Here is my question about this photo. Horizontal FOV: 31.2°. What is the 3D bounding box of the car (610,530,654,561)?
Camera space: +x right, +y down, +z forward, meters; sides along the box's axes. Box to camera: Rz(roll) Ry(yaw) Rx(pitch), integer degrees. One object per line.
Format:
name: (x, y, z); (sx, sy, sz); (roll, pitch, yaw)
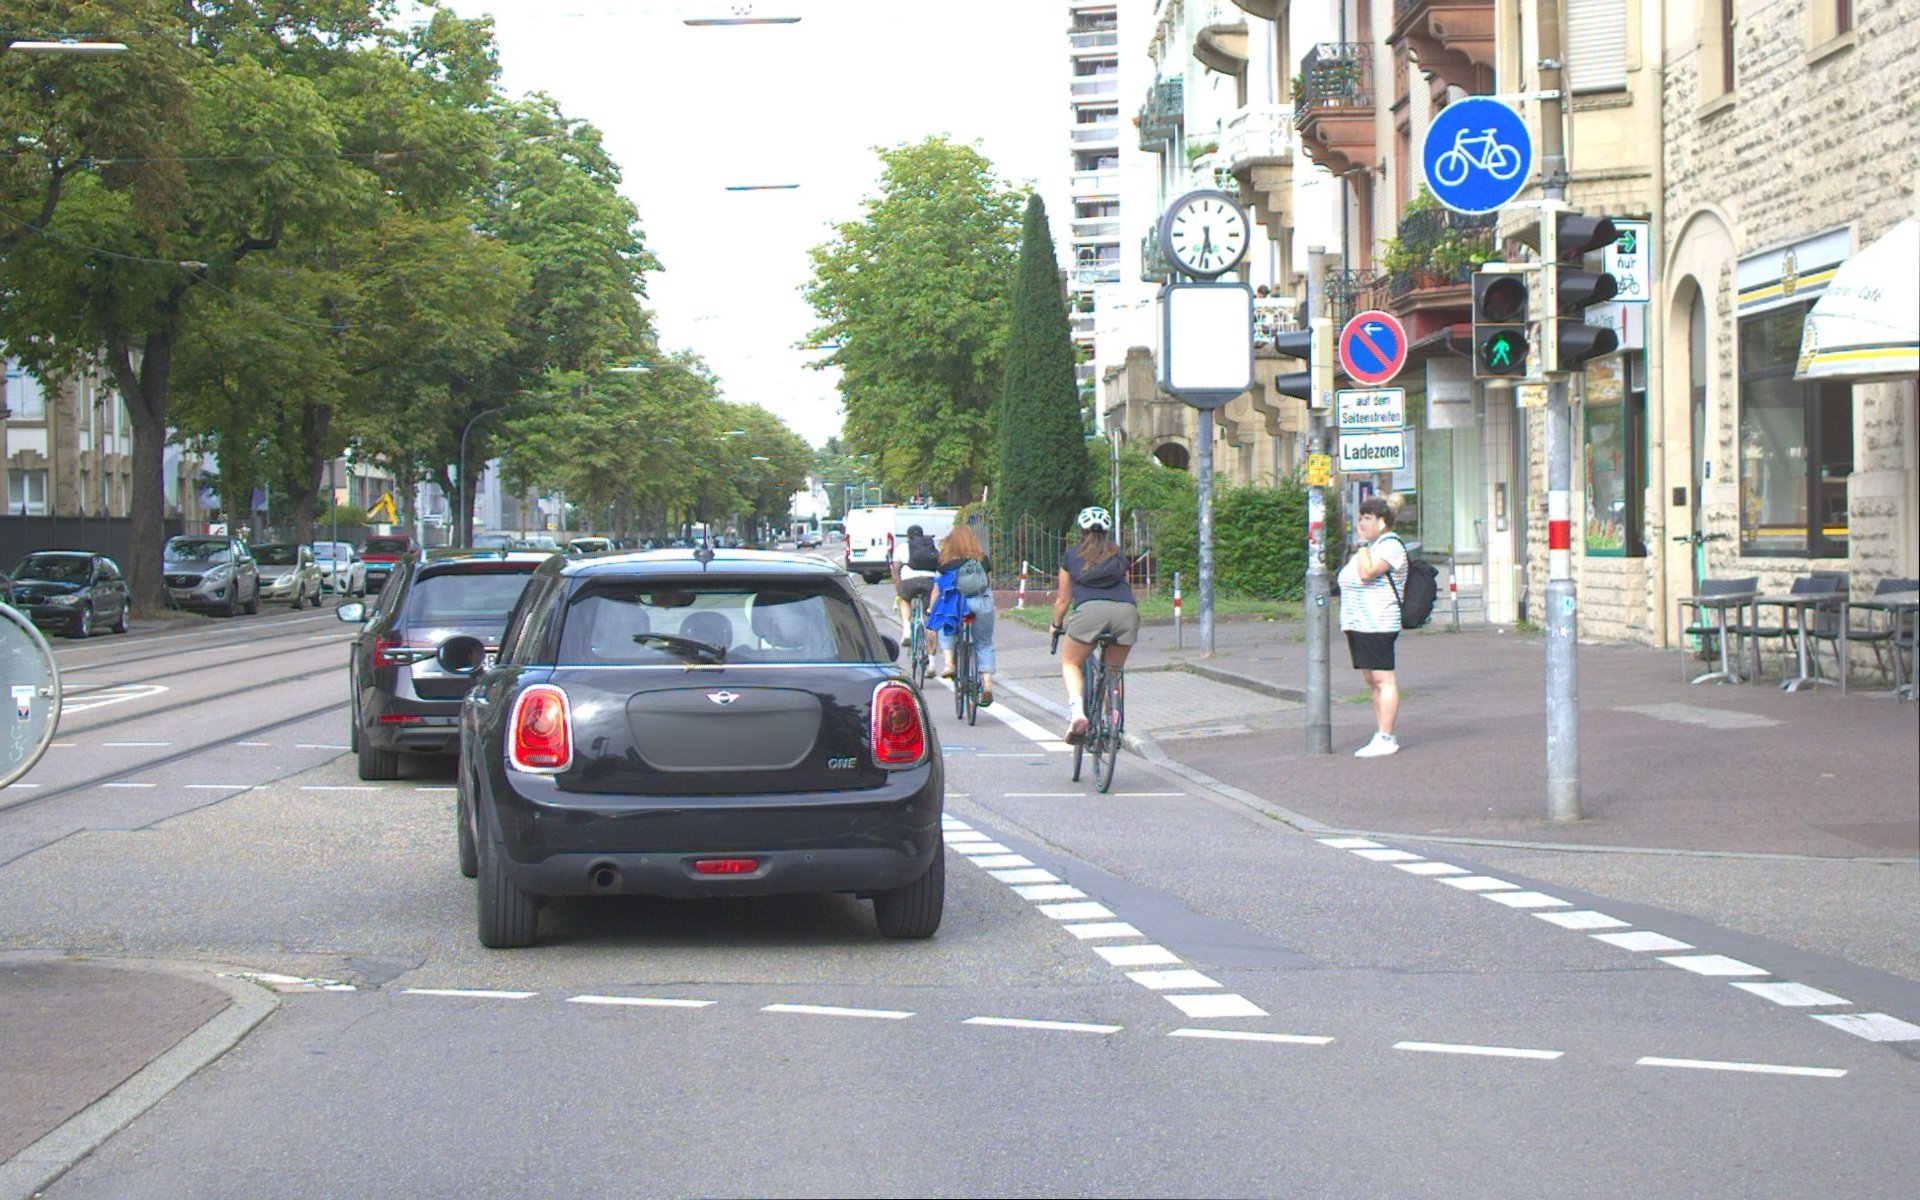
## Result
car: (-17.433, -2.911, 182.866); (1.993, 1.546, 4.000); (-1, 1, 0)

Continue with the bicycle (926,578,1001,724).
bicycle: (0.024, 0.415, 29.238); (0.598, 1.166, 1.697); (-1, 1, -1)

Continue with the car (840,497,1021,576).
car: (-0.853, -1.895, 102.454); (5.025, 2.265, 2.396); (-2, 2, -41)

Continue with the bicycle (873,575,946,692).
bicycle: (-0.522, 0.338, 36.315); (0.684, 1.166, 1.697); (-1, 1, 1)

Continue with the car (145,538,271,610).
car: (-15.334, -0.551, 70.269); (1.767, 1.390, 4.000); (-1, 1, -1)

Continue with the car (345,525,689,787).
car: (-2.963, 0.287, 22.292); (1.926, 1.504, 4.001); (-1, 1, -11)

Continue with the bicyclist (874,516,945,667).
bicyclist: (-0.532, -0.100, 36.273); (0.684, 1.558, 0.998); (-1, 1, 1)

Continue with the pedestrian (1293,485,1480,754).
pedestrian: (2.770, 0.126, 22.302); (0.833, 1.668, 0.732); (-5, 2, -44)

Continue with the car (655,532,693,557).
car: (-17.684, -3.445, 212.786); (1.993, 1.546, 4.000); (-1, 1, 0)

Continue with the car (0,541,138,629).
car: (-15.259, -0.278, 58.245); (1.767, 1.390, 4.000); (-1, 1, -1)

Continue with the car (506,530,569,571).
car: (-16.707, -1.962, 136.180); (1.993, 1.546, 4.000); (-1, 1, 0)

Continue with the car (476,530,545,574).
car: (-16.471, -1.781, 126.147); (1.993, 1.546, 4.000); (-1, 1, 0)

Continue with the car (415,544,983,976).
car: (-1.200, 0.513, 13.864); (1.751, 1.436, 4.001); (-1, 1, -12)

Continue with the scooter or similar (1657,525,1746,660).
scooter or similar: (6.729, -0.077, 31.231); (0.508, 1.184, 1.262); (-1, 1, -1)

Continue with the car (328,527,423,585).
car: (-16.463, -1.261, 96.979); (1.993, 1.546, 4.000); (-1, 1, 0)

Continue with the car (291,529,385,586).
car: (-15.989, -1.112, 88.581); (1.767, 1.390, 4.000); (-1, 1, -1)

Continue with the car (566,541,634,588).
car: (-11.106, -1.107, 106.367); (1.767, 1.390, 4.000); (-1, 1, -1)

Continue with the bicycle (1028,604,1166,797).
bicycle: (0.822, 0.592, 21.080); (0.614, 1.073, 1.821); (-1, 1, -4)

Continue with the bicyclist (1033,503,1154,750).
bicyclist: (0.815, 0.147, 21.124); (0.614, 1.467, 0.915); (-1, 1, -4)

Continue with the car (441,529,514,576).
car: (-16.821, -1.668, 119.946); (1.993, 1.546, 4.000); (-1, 1, 0)

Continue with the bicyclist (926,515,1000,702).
bicyclist: (0.020, 0.058, 29.230); (0.594, 1.545, 1.014); (-1, 1, -1)

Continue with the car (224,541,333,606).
car: (-15.420, -0.618, 77.943); (1.767, 1.390, 4.000); (-1, 1, -1)
